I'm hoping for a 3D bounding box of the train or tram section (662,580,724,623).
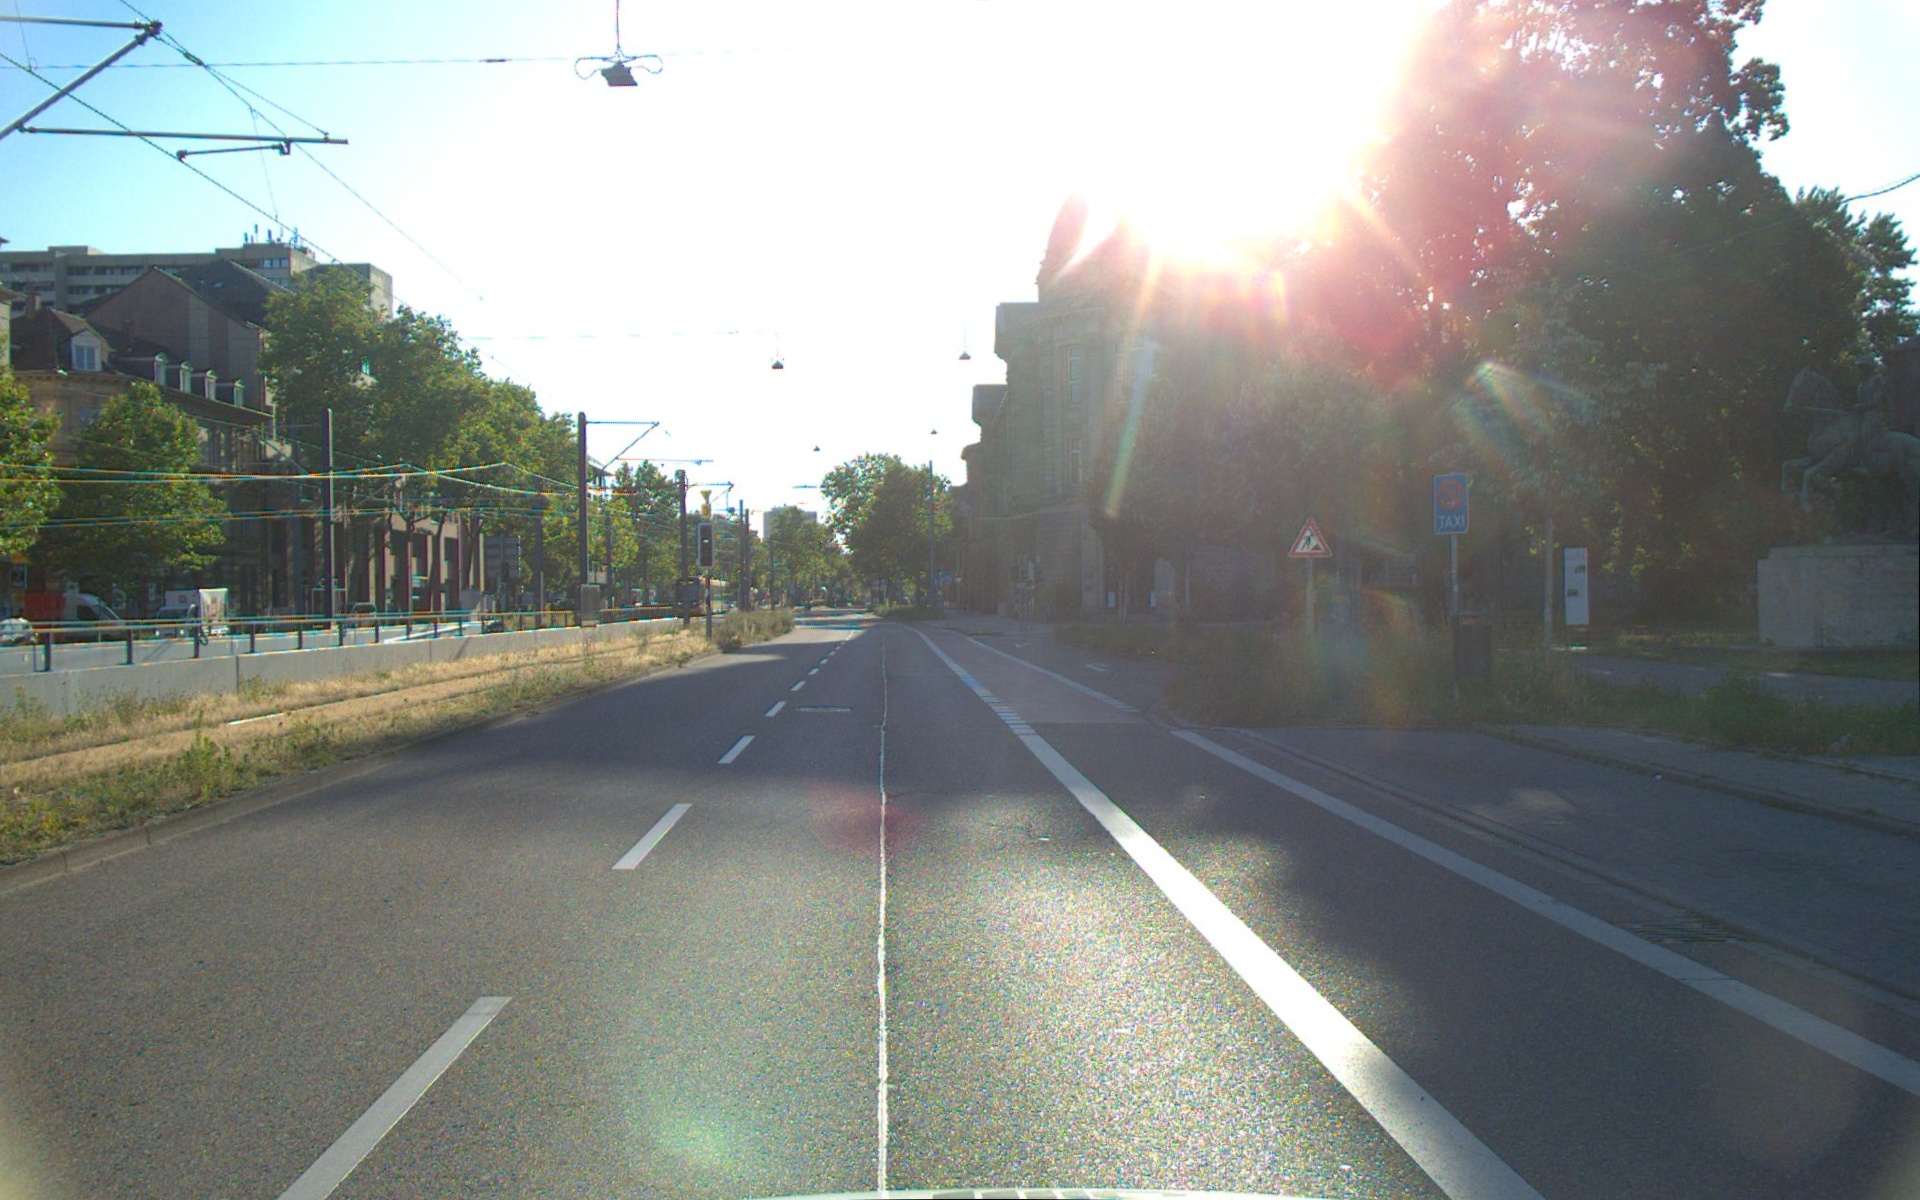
[{"bbox_3d":[-24.124,0.144,150.583,3.049,3.621,17.474,-1,0,-1],"label":"train or tram section"}]

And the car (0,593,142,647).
[{"bbox_3d":[-41.078,0.914,74.463,7.130,2.306,2.466,-1,0,-8],"label":"car"}]

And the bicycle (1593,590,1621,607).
[{"bbox_3d":[43.592,-0.109,111.482,1.960,1.120,0.844,-1,2,-37],"label":"bicycle"}]

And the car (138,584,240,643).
[{"bbox_3d":[-29.884,0.508,64.228,1.913,2.171,4.571,-1,0,-2],"label":"car"}]

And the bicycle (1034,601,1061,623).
[{"bbox_3d":[4.829,0.657,91.270,0.849,1.217,2.240,-1,0,20],"label":"bicycle"}]
